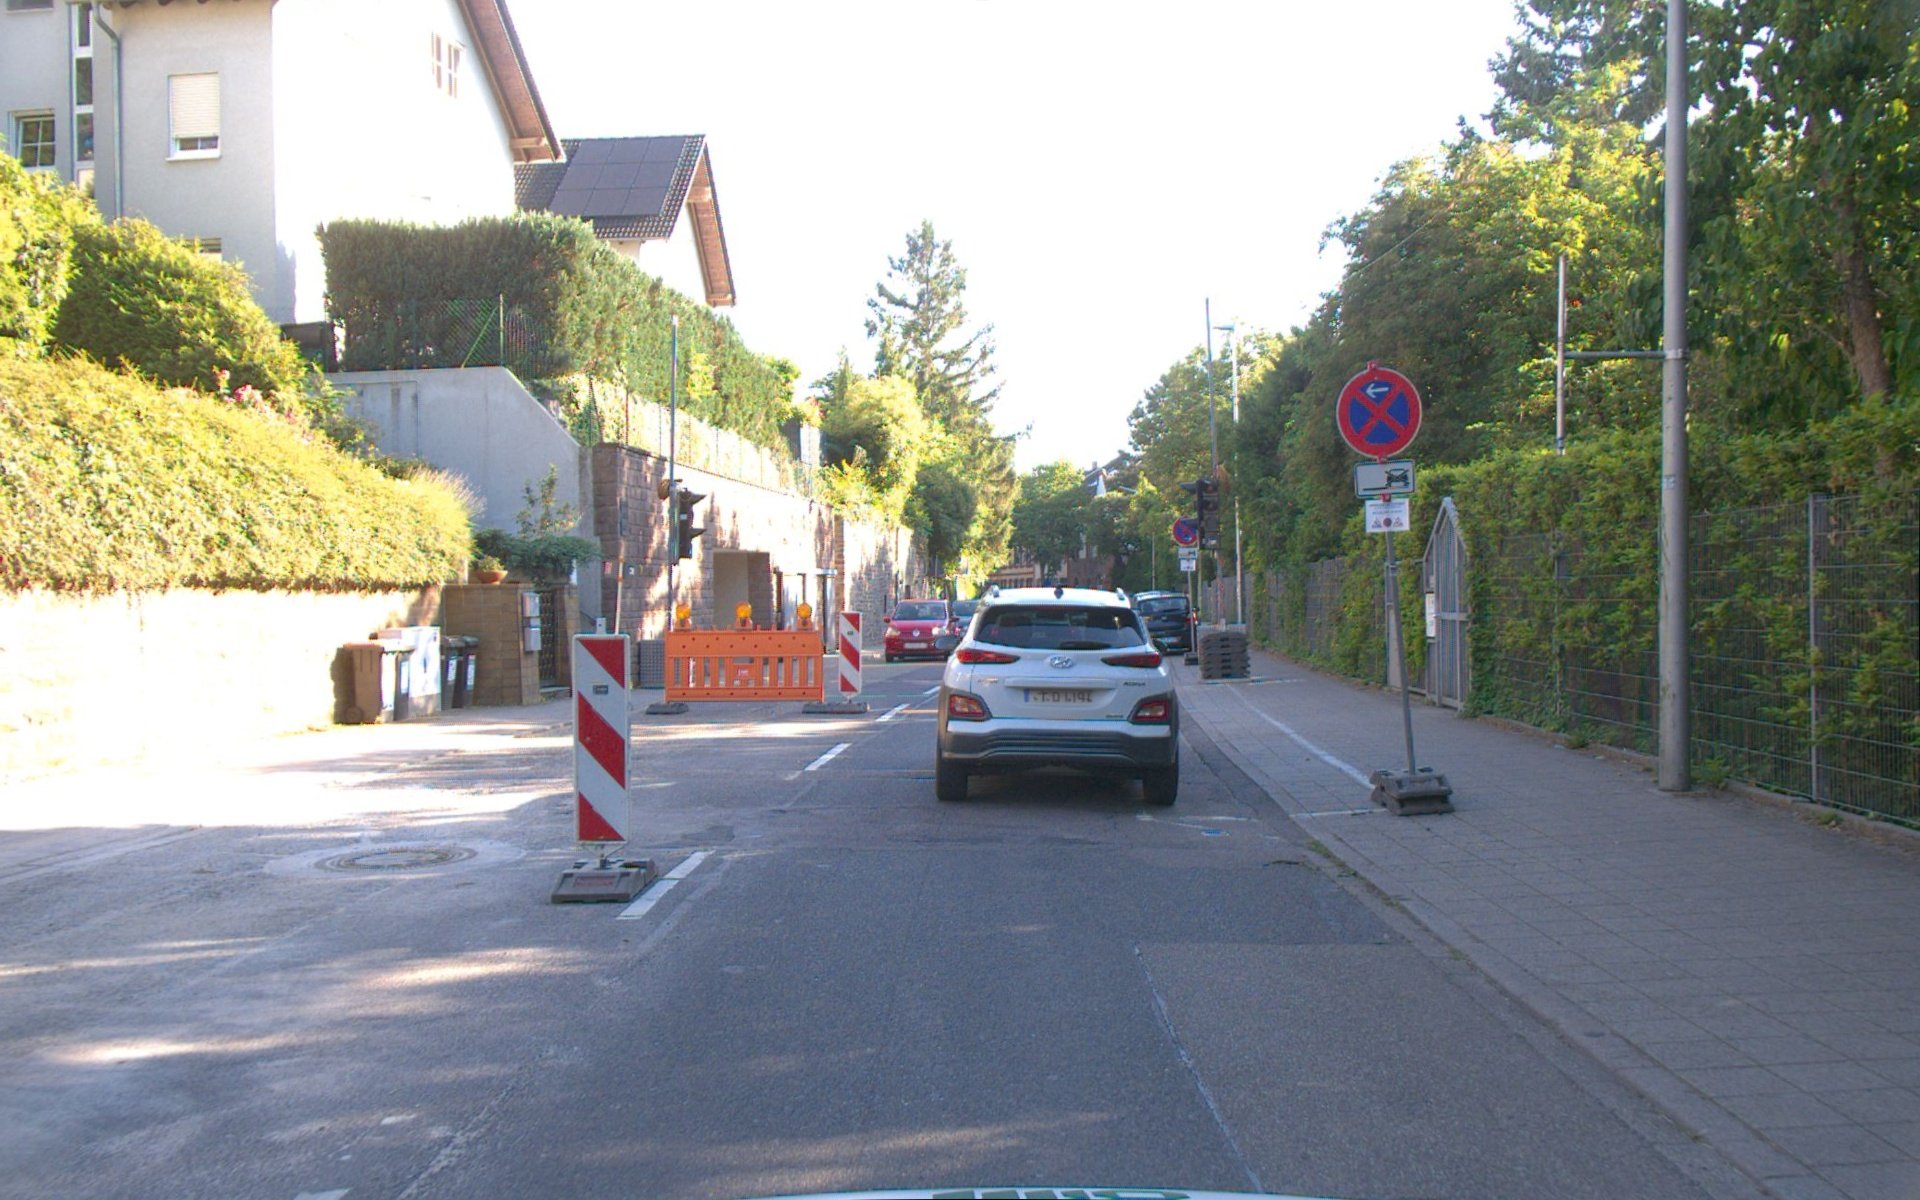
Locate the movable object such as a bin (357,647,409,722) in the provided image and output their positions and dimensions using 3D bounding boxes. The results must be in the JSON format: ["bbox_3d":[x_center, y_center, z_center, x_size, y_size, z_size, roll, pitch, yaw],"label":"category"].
[{"bbox_3d":[-6.702,0.980,19.216,0.444,0.848,0.392,-1,0,4],"label":"movable object such as a bin"}]

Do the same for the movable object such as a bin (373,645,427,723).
[{"bbox_3d":[-6.658,0.990,19.685,0.446,0.899,0.501,0,0,5],"label":"movable object such as a bin"}]

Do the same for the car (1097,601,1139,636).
[{"bbox_3d":[7.114,0.799,74.267,1.658,1.472,3.884,2,0,8],"label":"car"}]

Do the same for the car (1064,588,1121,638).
[{"bbox_3d":[4.590,0.450,56.983,1.658,1.559,3.884,-4,-1,7],"label":"car"}]

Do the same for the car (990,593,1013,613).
[{"bbox_3d":[3.476,0.293,139.043,1.706,1.500,3.999,-4,-1,-1],"label":"car"}]

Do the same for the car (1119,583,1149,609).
[{"bbox_3d":[11.039,-0.273,105.284,1.560,1.515,3.603,-3,0,2],"label":"car"}]

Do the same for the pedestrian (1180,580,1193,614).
[{"bbox_3d":[11.093,-0.142,81.021,0.492,1.596,0.504,-3,-1,7],"label":"pedestrian"}]

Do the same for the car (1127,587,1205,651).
[{"bbox_3d":[5.003,0.443,40.543,1.756,1.466,4.003,-1,0,6],"label":"car"}]

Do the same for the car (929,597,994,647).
[{"bbox_3d":[0.087,0.662,50.974,1.614,1.435,3.933,-2,0,5],"label":"car"}]

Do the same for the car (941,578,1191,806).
[{"bbox_3d":[0.784,0.633,13.476,1.735,1.569,4.001,0,0,1],"label":"car"}]

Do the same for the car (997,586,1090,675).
[{"bbox_3d":[1.639,0.541,31.421,1.479,1.560,3.550,-1,0,7],"label":"car"}]

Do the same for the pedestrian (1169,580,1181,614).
[{"bbox_3d":[10.545,-0.127,81.081,0.492,1.634,0.491,-3,-1,7],"label":"pedestrian"}]

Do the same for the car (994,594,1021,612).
[{"bbox_3d":[4.500,0.283,156.596,1.724,1.645,3.990,0,0,-11],"label":"car"}]

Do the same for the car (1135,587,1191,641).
[{"bbox_3d":[6.275,0.413,50.890,1.617,1.591,2.875,-1,0,8],"label":"car"}]

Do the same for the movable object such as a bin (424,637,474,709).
[{"bbox_3d":[-6.560,0.929,21.240,0.446,0.899,0.501,0,0,5],"label":"movable object such as a bin"}]

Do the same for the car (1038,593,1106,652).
[{"bbox_3d":[3.035,0.575,44.211,1.537,1.503,3.550,0,0,9],"label":"car"}]

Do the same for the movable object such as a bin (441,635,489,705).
[{"bbox_3d":[-6.512,0.915,21.764,0.446,0.899,0.501,0,0,5],"label":"movable object such as a bin"}]

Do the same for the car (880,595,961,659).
[{"bbox_3d":[-0.930,0.636,40.416,1.592,1.446,3.565,-2,0,4],"label":"car"}]
